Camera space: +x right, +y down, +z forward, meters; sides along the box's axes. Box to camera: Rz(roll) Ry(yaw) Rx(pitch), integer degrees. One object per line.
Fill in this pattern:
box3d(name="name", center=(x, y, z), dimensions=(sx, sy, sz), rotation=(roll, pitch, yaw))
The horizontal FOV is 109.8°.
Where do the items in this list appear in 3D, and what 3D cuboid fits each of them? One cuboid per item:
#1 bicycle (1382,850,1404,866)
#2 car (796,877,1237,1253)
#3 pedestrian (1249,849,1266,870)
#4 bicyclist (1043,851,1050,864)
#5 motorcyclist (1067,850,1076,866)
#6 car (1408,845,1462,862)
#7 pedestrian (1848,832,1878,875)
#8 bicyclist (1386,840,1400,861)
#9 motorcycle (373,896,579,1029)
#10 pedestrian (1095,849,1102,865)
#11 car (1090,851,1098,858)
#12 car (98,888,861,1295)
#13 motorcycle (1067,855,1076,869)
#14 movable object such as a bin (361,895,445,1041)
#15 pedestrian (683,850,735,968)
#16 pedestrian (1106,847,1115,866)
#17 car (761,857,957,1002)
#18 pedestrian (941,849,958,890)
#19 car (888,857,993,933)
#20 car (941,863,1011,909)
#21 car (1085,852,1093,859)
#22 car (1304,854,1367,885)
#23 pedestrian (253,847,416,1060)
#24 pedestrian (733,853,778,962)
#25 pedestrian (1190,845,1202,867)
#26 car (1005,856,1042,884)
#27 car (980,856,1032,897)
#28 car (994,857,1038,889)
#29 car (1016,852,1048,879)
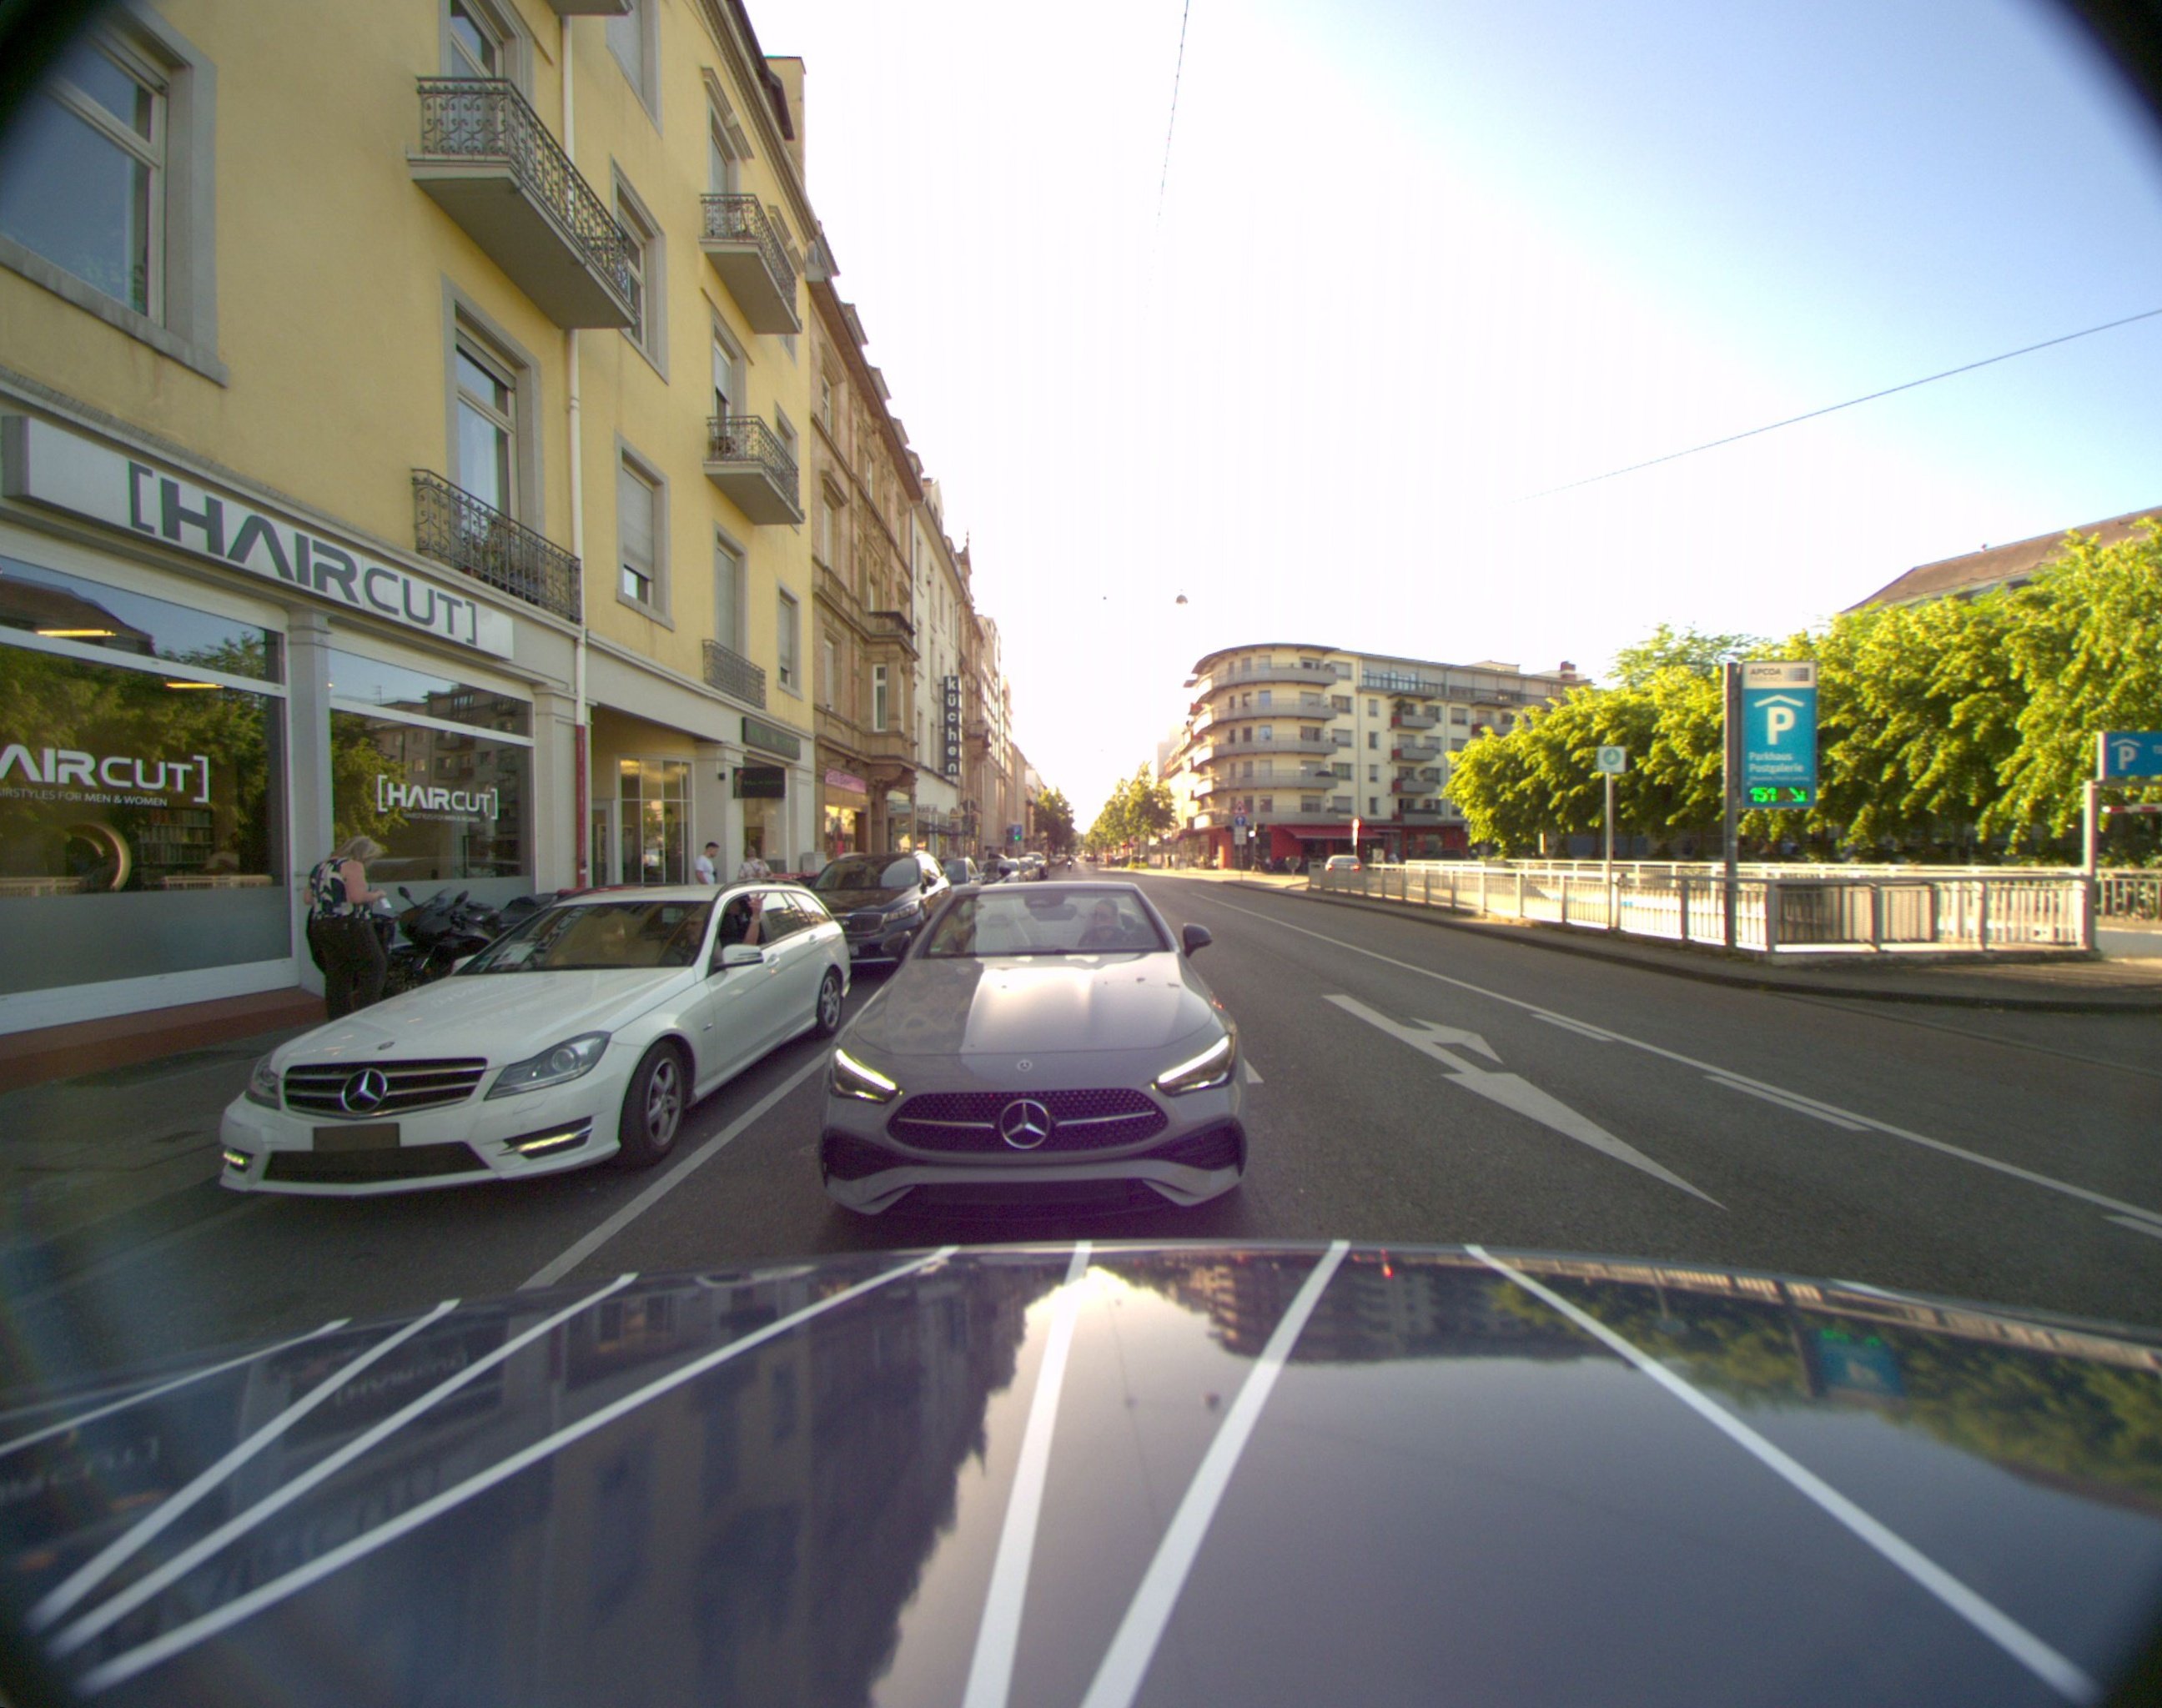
box3d(name="bicycle", center=(23.716, 0.314, 57.672), dimensions=(1.595, 1.163, 0.526), rotation=(-3, 1, -21))
box3d(name="car", center=(-0.243, 0.954, 5.192), dimensions=(1.802, 1.351, 3.999), rotation=(-2, 1, 1))
box3d(name="pedestrian", center=(13.564, 0.413, 58.375), dimensions=(0.863, 1.586, 0.887), rotation=(-3, 1, -38))
box3d(name="bicyclist", center=(-4.290, 0.445, 94.781), dimensions=(0.885, 1.625, 0.768), rotation=(-2, 1, -1))
box3d(name="motorcyclist", center=(-0.869, 0.340, 71.041), dimensions=(0.722, 1.438, 0.705), rotation=(-2, 1, 1))
box3d(name="car", center=(29.066, -0.054, 62.408), dimensions=(4.004, 1.294, 1.753), rotation=(-2, 1, -23))
box3d(name="pedestrian", center=(31.578, -0.025, 30.678), dimensions=(0.647, 1.711, 0.607), rotation=(-3, 1, -19))
box3d(name="bicyclist", center=(23.701, -0.238, 57.667), dimensions=(0.799, 1.539, 0.524), rotation=(-3, 1, -22))
box3d(name="motorcycle", center=(-6.195, 1.052, 7.942), dimensions=(0.567, 1.072, 1.954), rotation=(2, 1, 1))
box3d(name="pedestrian", center=(2.126, 0.337, 94.701), dimensions=(0.792, 2.002, 0.889), rotation=(-2, 1, 1))
box3d(name="car", center=(2.863, 0.138, 168.469), dimensions=(1.615, 1.534, 3.931), rotation=(-1, 0, 1))
box3d(name="car", center=(-3.067, 1.067, 5.265), dimensions=(1.704, 1.351, 4.378), rotation=(-2, 1, 1))
box3d(name="motorcycle", center=(-0.852, 0.741, 71.058), dimensions=(0.720, 1.177, 1.906), rotation=(-2, 1, 1))
box3d(name="movable object such as a bin", center=(-5.998, 0.992, 6.735), dimensions=(0.391, 1.231, 0.394), rotation=(1, 1, 1))
box3d(name="pedestrian", center=(-6.392, 0.918, 13.064), dimensions=(0.373, 1.971, 0.695), rotation=(0, 1, 23))
box3d(name="pedestrian", center=(3.238, 0.286, 82.344), dimensions=(0.860, 2.002, 0.889), rotation=(-2, 1, 1))
box3d(name="car", center=(-3.020, 0.912, 11.301), dimensions=(1.803, 1.629, 4.243), rotation=(-2, 1, -3))
box3d(name="pedestrian", center=(-5.959, 0.685, 34.399), dimensions=(0.574, 1.840, 0.665), rotation=(-2, 1, 1))
box3d(name="car", center=(-3.292, 0.909, 18.562), dimensions=(1.802, 1.518, 4.085), rotation=(-2, 1, -1))
box3d(name="car", center=(-3.429, 1.013, 25.498), dimensions=(1.802, 1.259, 4.085), rotation=(-2, 1, -1))
box3d(name="car", center=(1.744, 0.386, 167.834), dimensions=(1.615, 1.534, 3.931), rotation=(-1, 0, 1))
box3d(name="car", center=(12.548, 0.712, 37.671), dimensions=(1.823, 1.346, 4.265), rotation=(1, 1, 2))
box3d(name="pedestrian", center=(-6.066, 0.775, 6.210), dimensions=(0.719, 1.644, 0.606), rotation=(1, 1, 1))
box3d(name="pedestrian", center=(-5.692, 0.909, 13.278), dimensions=(0.576, 1.840, 0.663), rotation=(-3, 1, -30))
box3d(name="pedestrian", center=(10.316, 0.178, 68.143), dimensions=(0.860, 2.002, 0.889), rotation=(-2, 1, 0))
box3d(name="car", center=(-3.037, 0.840, 40.873), dimensions=(1.725, 1.332, 3.668), rotation=(-2, 1, -1))
box3d(name="car", center=(-2.969, 0.867, 30.736), dimensions=(1.660, 1.423, 4.085), rotation=(-2, 1, -1))
box3d(name="car", center=(-3.110, 0.887, 36.825), dimensions=(1.802, 1.332, 3.838), rotation=(-2, 1, -1))
box3d(name="car", center=(-3.056, 0.697, 47.745), dimensions=(1.725, 1.506, 4.004), rotation=(-2, 1, -1))
